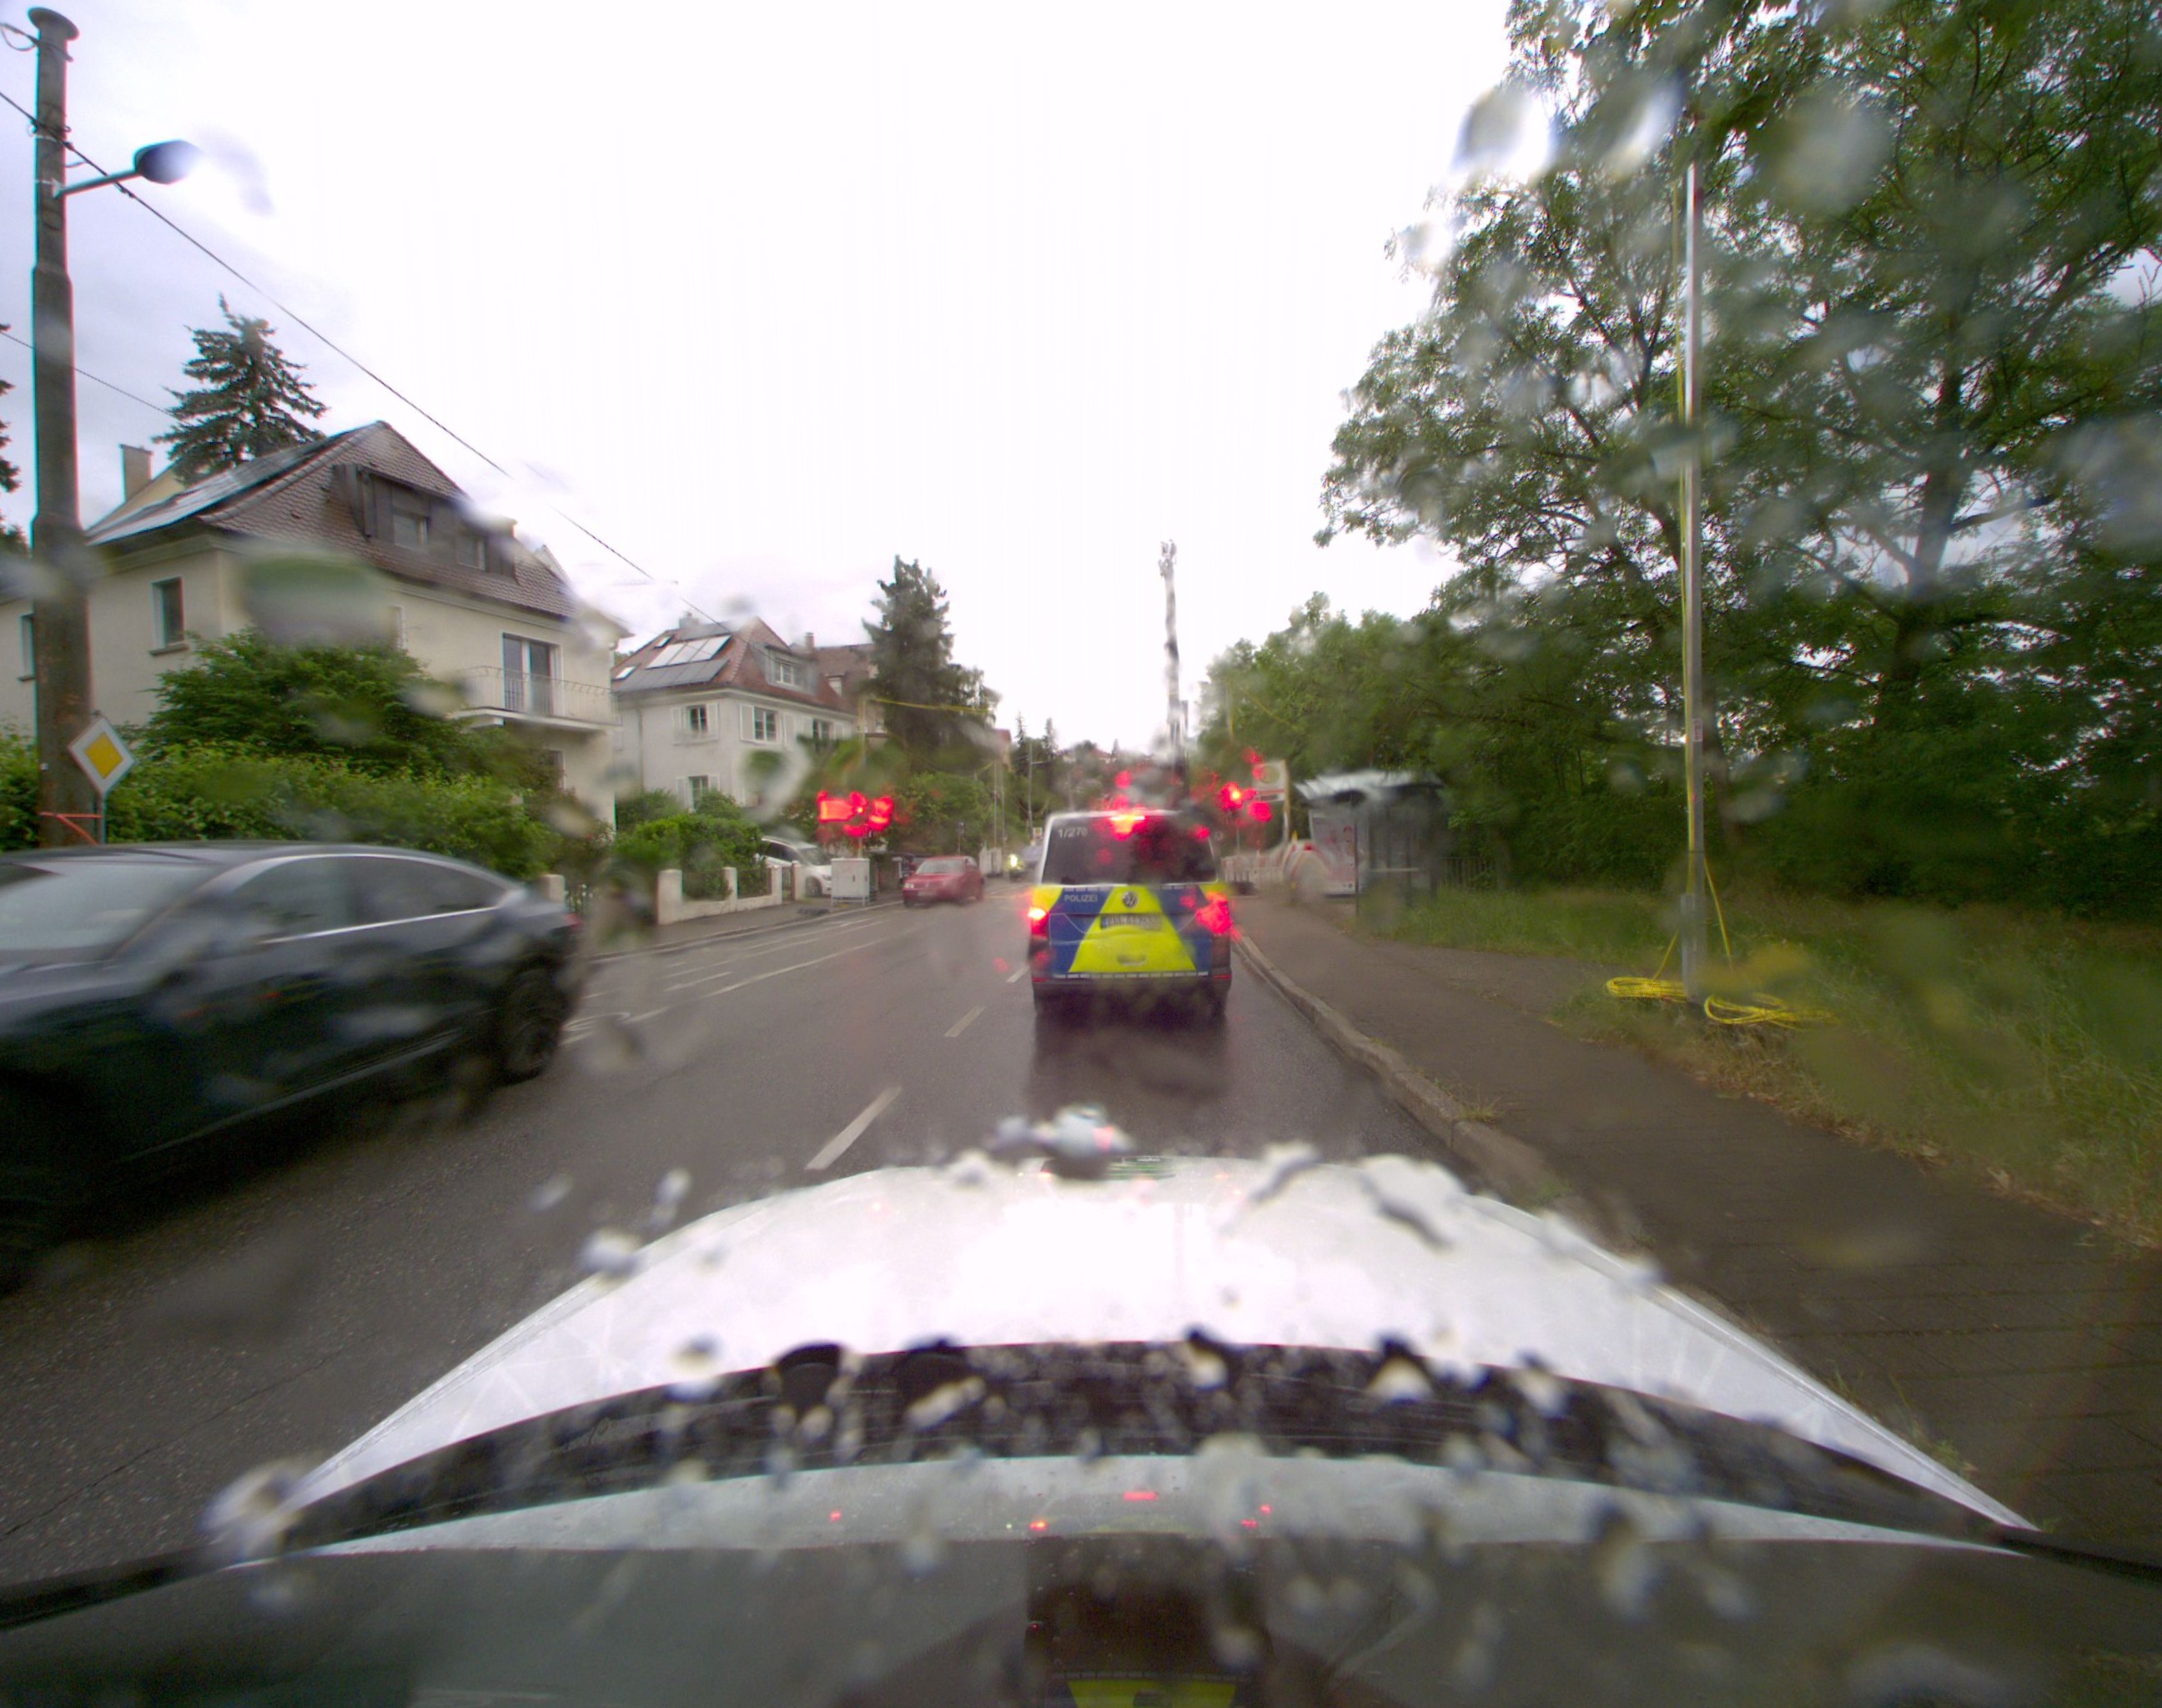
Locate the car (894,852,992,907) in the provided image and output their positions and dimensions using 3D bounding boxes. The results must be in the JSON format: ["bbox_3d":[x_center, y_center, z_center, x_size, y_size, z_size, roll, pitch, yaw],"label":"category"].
[{"bbox_3d":[-3.974,0.681,24.091,1.754,1.463,3.895,0,0,8],"label":"car"}]

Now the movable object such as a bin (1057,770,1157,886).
[{"bbox_3d":[1.111,-0.930,31.774,2.809,4.177,4.400,0,0,17],"label":"movable object such as a bin"}]

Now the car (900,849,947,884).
[{"bbox_3d":[-7.449,0.558,38.301,1.770,1.486,3.720,0,1,-17],"label":"car"}]

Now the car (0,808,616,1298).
[{"bbox_3d":[-4.715,0.690,4.209,1.988,1.674,4.685,0,0,-1],"label":"car"}]

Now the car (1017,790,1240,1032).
[{"bbox_3d":[0.466,0.481,8.943,1.886,2.050,4.002,0,0,2],"label":"car"}]

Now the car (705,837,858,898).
[{"bbox_3d":[-10.275,0.461,28.059,4.599,2.007,1.907,0,0,13],"label":"car"}]

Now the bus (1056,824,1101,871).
[{"bbox_3d":[-0.030,-0.511,70.921,2.827,3.718,12.022,0,0,5],"label":"bus"}]

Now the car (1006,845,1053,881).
[{"bbox_3d":[-2.621,0.445,42.251,1.971,1.748,4.555,0,0,2],"label":"car"}]
